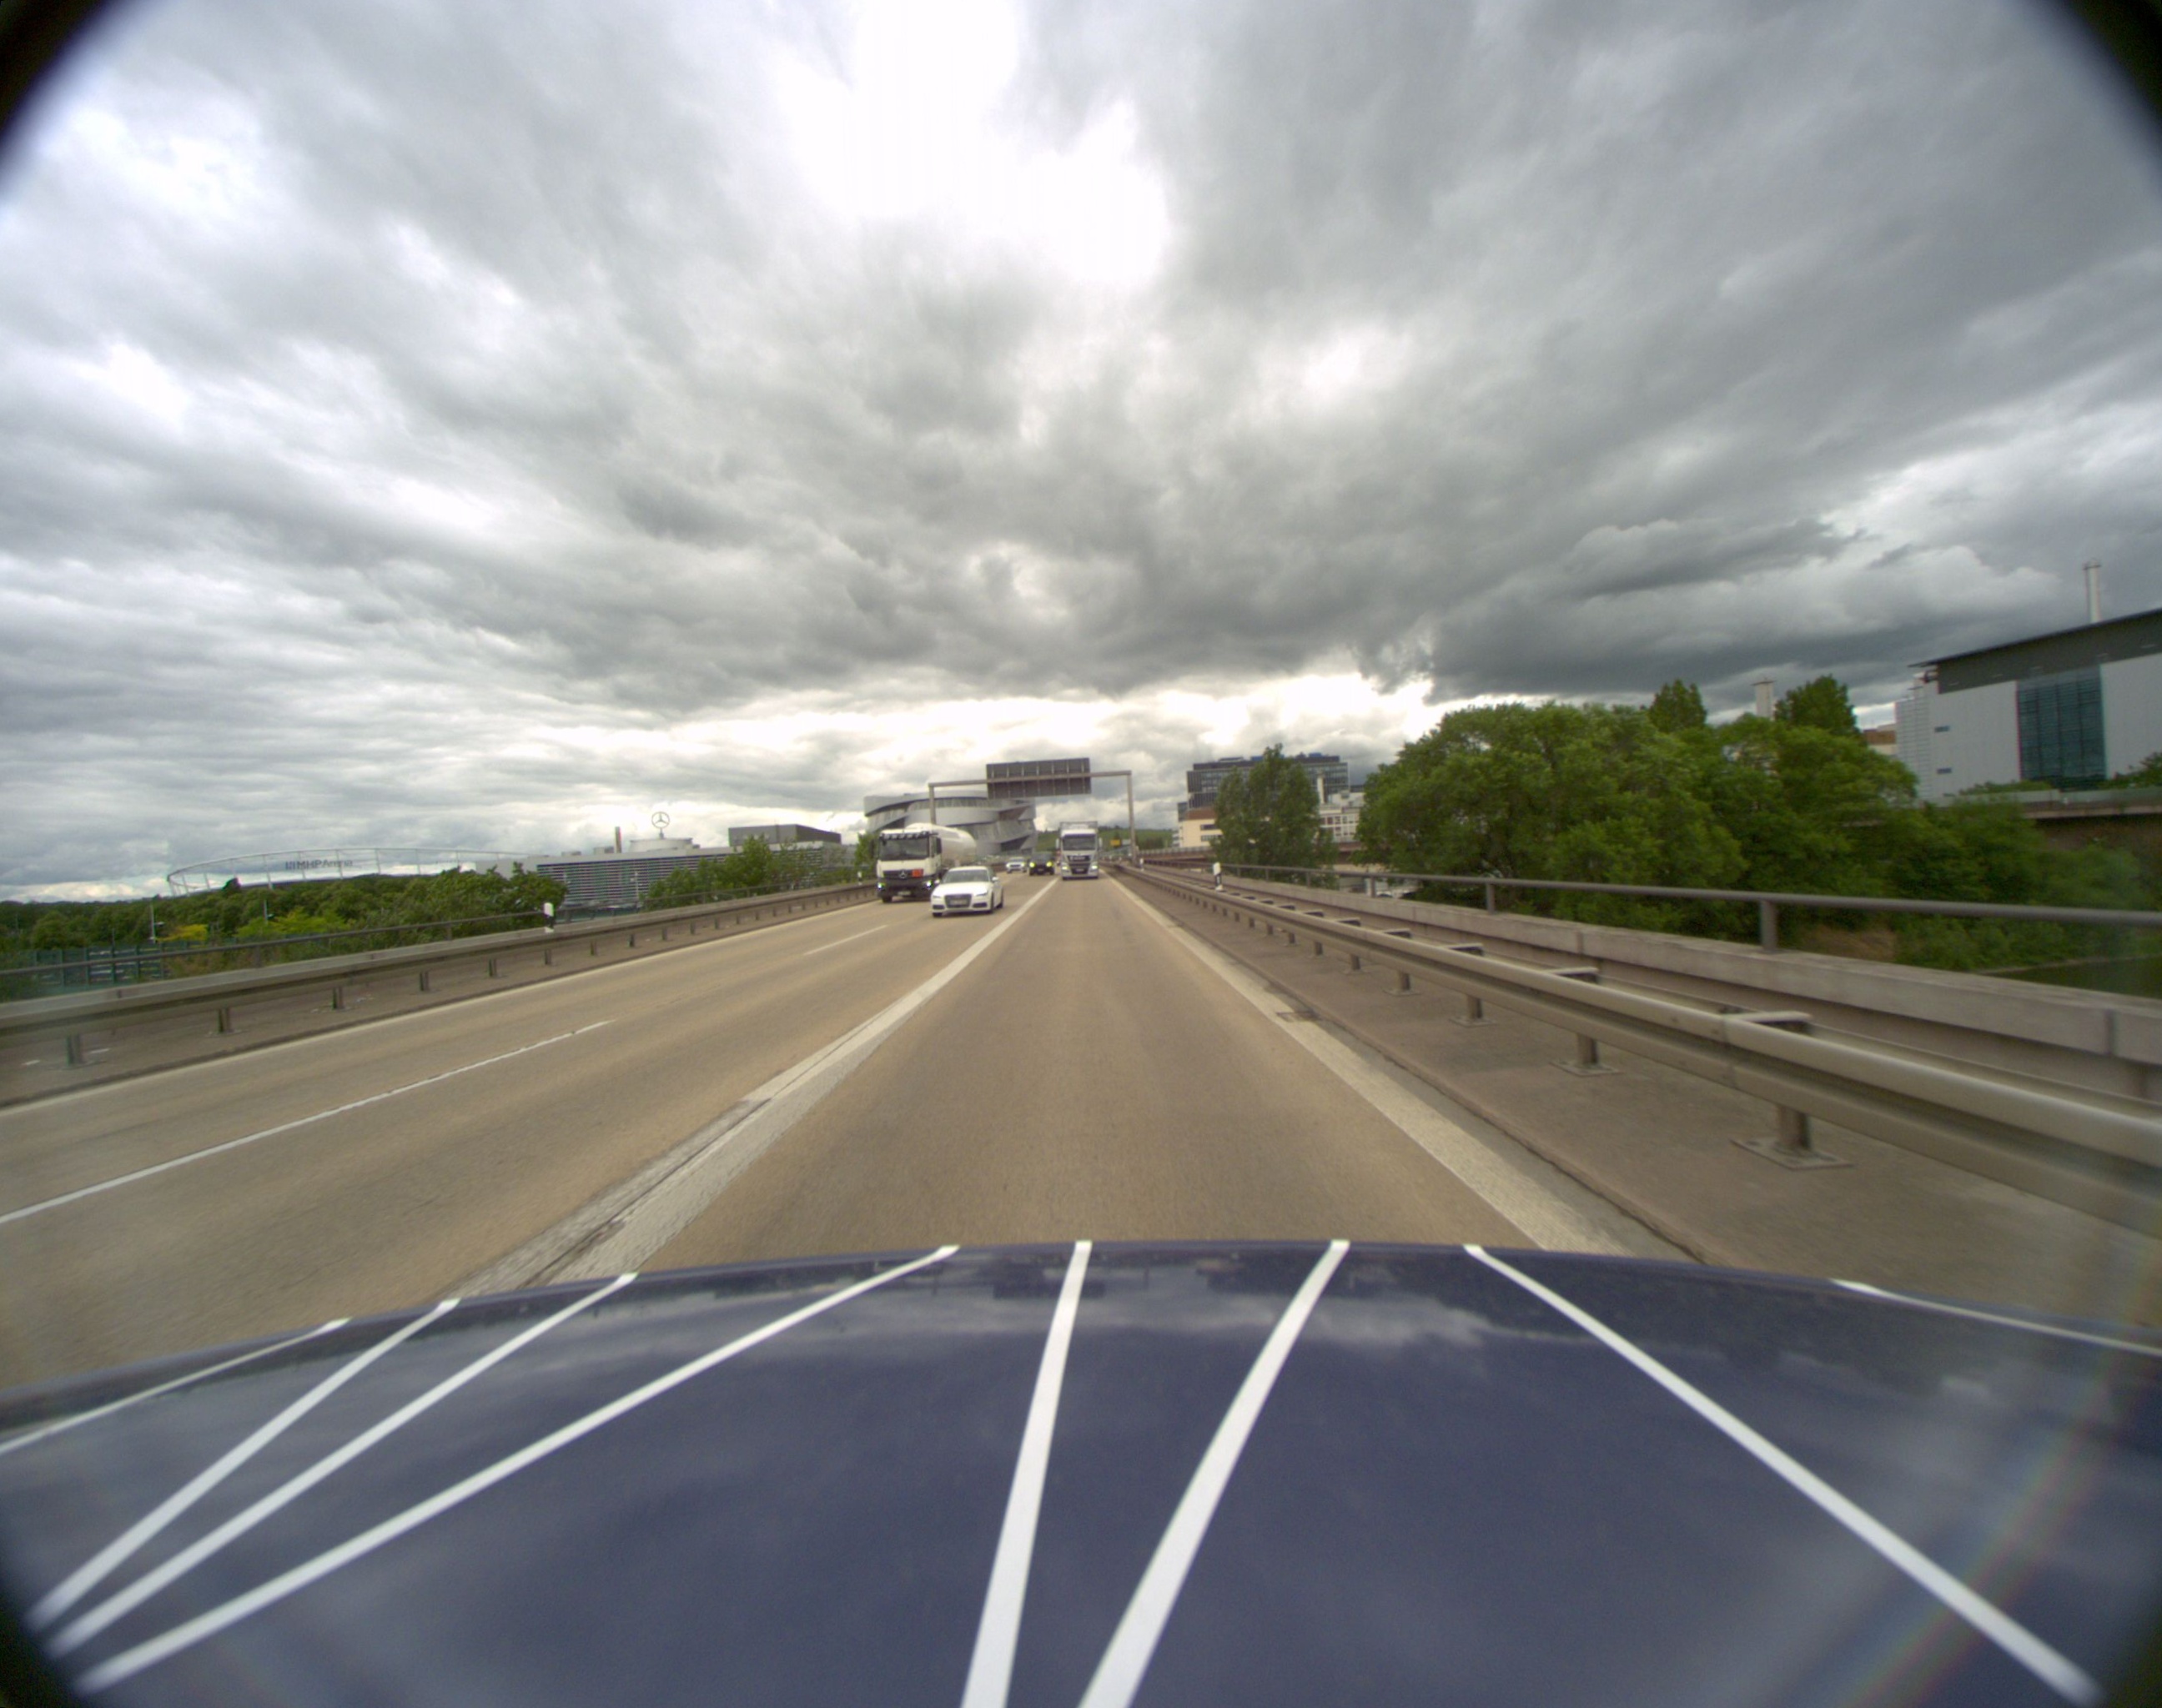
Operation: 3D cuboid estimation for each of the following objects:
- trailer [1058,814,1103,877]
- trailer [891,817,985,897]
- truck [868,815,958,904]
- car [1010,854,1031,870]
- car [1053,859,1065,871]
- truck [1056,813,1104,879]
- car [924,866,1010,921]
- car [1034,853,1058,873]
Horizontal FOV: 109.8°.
[{"bbox_3d":[0.031,-0.585,56.391,2.880,4.104,11.220,-2,0,0],"label":"trailer"},{"bbox_3d":[-7.119,0.135,39.685,2.657,3.522,11.219,-2,0,0],"label":"trailer"},{"bbox_3d":[-7.160,0.189,33.023,2.637,3.494,4.903,-2,1,0],"label":"truck"},{"bbox_3d":[-6.211,0.805,78.540,1.785,1.624,3.627,-2,0,1],"label":"car"},{"bbox_3d":[-3.916,1.944,138.081,1.998,2.002,4.000,-2,0,0],"label":"car"},{"bbox_3d":[-0.027,-0.522,51.709,2.946,4.136,6.291,-2,0,1],"label":"truck"},{"bbox_3d":[-3.420,1.147,23.545,1.848,1.443,3.933,-2,0,2],"label":"car"},{"bbox_3d":[-2.973,0.740,64.912,1.765,1.624,3.627,-2,0,1],"label":"car"}]
